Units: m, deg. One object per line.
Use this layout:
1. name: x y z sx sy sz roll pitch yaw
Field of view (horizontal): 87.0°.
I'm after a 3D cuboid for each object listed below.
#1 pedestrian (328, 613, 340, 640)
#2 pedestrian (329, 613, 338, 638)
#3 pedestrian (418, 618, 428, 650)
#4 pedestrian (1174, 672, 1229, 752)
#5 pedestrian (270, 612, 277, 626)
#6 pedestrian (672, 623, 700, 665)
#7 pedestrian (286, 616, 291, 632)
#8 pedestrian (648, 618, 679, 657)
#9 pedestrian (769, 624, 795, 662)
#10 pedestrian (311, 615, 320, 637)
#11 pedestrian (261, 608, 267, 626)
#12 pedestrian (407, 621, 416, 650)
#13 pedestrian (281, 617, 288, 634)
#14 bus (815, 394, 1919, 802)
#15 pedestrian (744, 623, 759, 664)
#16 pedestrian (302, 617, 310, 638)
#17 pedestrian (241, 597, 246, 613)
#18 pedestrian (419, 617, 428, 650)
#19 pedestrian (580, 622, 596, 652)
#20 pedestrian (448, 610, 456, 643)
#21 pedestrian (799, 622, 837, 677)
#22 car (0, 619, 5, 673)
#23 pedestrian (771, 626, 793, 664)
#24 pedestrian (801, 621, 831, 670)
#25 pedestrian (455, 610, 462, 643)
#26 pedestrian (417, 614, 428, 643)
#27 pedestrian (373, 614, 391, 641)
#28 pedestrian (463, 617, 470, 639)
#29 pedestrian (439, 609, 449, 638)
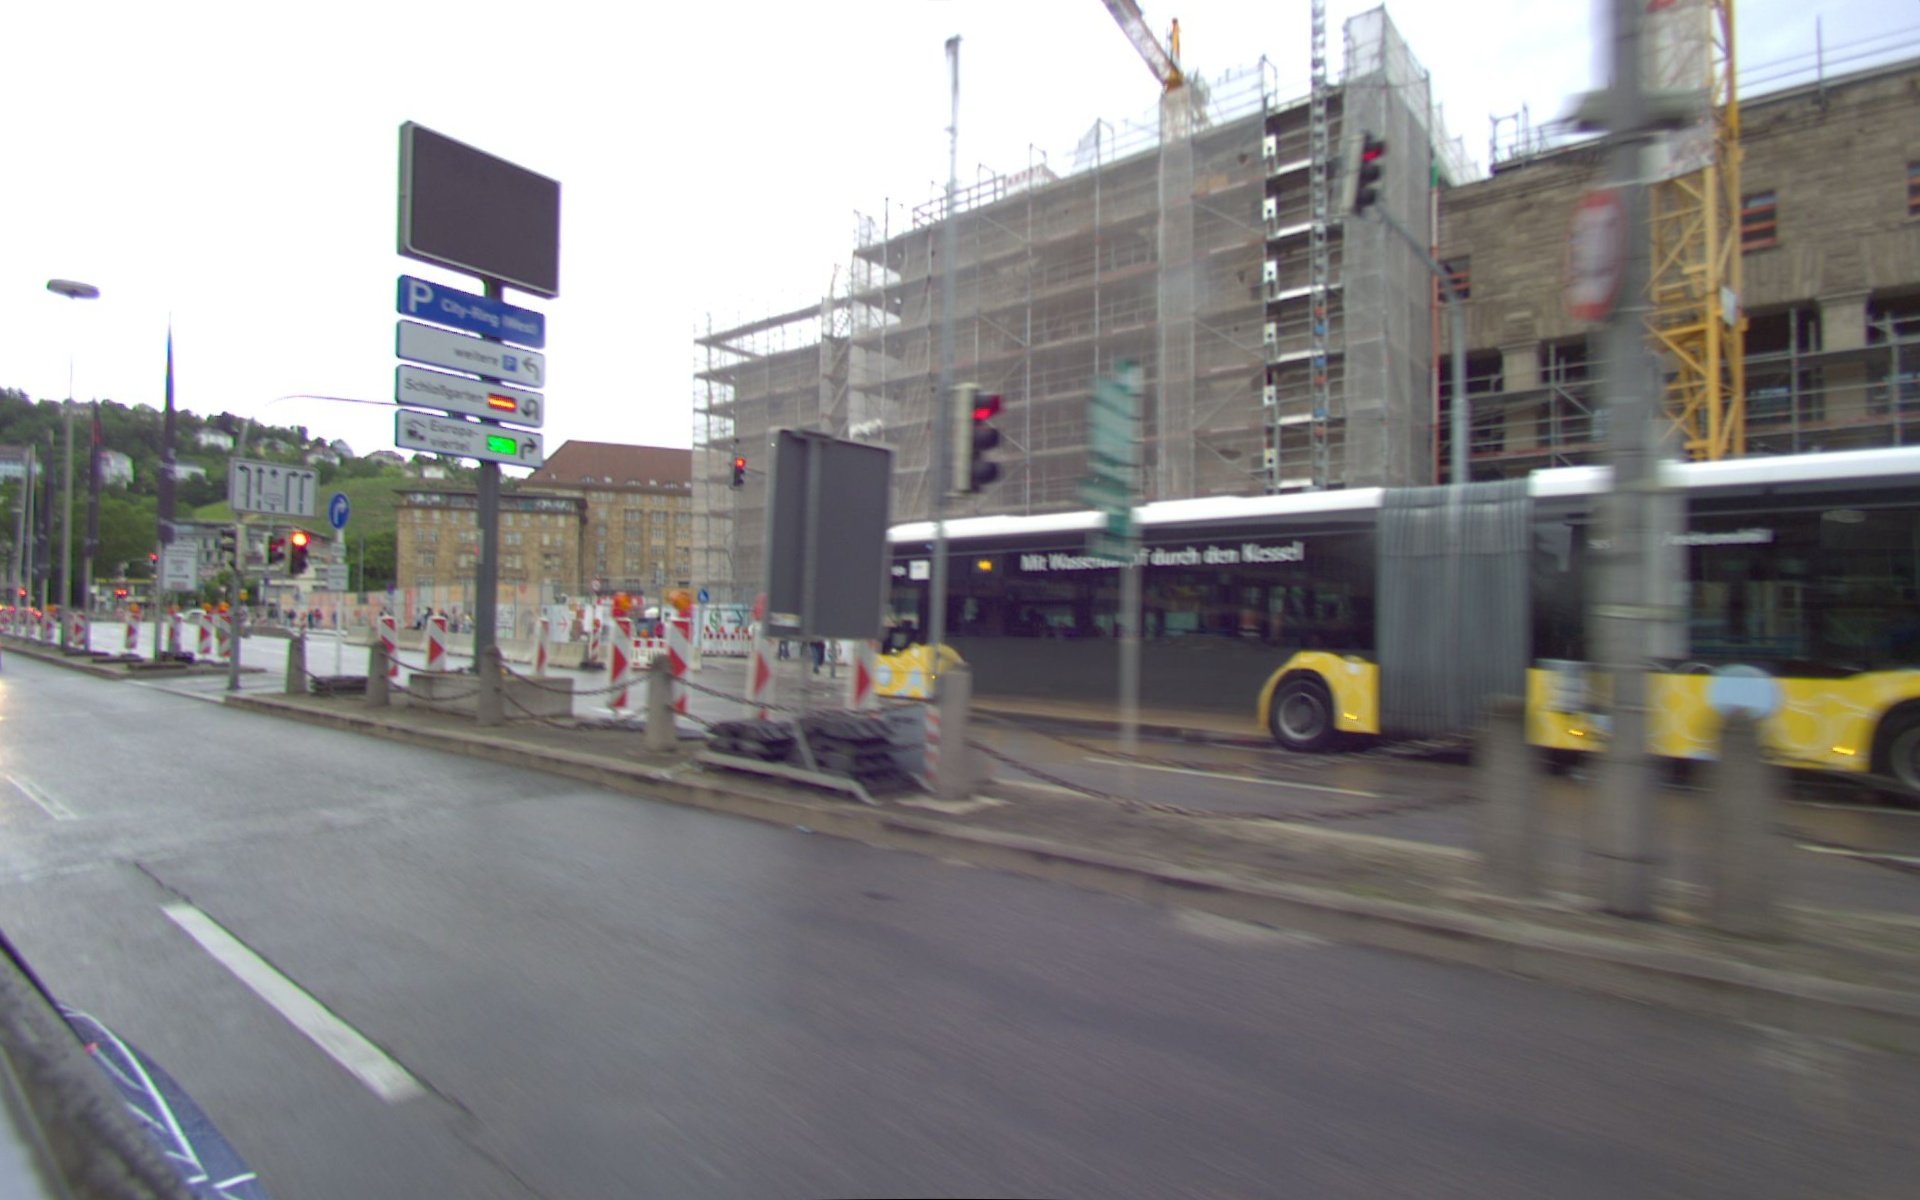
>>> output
1. pedestrian: -46.979 2.004 75.969 0.685 2.049 0.585 -2 -2 41
2. pedestrian: -51.891 2.118 83.813 0.490 2.029 0.535 -1 -1 41
3. pedestrian: -29.683 1.883 55.966 0.365 1.783 0.363 -2 -2 42
4. pedestrian: 5.153 2.369 21.639 0.745 1.609 0.873 2 -2 -41
5. pedestrian: -63.105 1.720 92.982 0.413 1.250 0.432 -2 -2 43
6. pedestrian: -11.150 1.775 41.207 0.872 1.677 0.746 -1 -2 42
7. pedestrian: -55.858 1.967 84.193 0.351 1.321 0.267 -2 -2 41
8. pedestrian: -12.161 1.544 41.513 0.709 1.579 0.941 -1 -3 42
9. pedestrian: -8.300 1.997 47.137 0.939 1.749 0.710 2 -2 -39
10. pedestrian: -47.959 1.970 75.317 0.413 1.628 0.433 -2 -2 41
11. pedestrian: -63.664 1.589 92.564 0.357 1.628 0.370 -2 -2 41
12. pedestrian: -30.718 1.970 56.649 0.321 1.628 0.345 -2 -2 41
13. pedestrian: -58.212 2.220 87.230 0.413 1.426 0.433 -2 -2 41
14. bus: 5.452 0.106 13.512 19.068 3.605 2.879 -1 -3 41
15. pedestrian: -9.011 1.881 43.717 0.639 1.782 0.528 0 -2 -11
16. pedestrian: -51.139 2.124 79.110 0.413 1.628 0.433 -2 -2 41
17. pedestrian: -71.539 0.484 101.056 0.323 1.628 0.330 -2 -2 41
18. pedestrian: -30.013 1.873 56.626 0.391 1.783 0.363 -2 -2 44
19. pedestrian: -17.625 1.749 47.933 0.557 1.454 0.529 2 -2 -42
20. pedestrian: -28.081 1.462 55.915 0.346 1.783 0.306 -2 -2 44
21. pedestrian: -4.490 1.547 31.966 0.963 1.694 0.746 -1 -2 41
22. car: -26.801 1.202 26.847 3.998 1.388 1.724 -1 -2 41
23. pedestrian: -7.948 1.996 45.205 0.696 1.677 0.658 0 -1 32
24. pedestrian: -5.443 1.720 38.220 0.755 1.826 0.862 -1 -2 36
25. pedestrian: -27.884 1.471 56.272 0.268 1.783 0.310 -1 -1 44
26. pedestrian: -33.210 1.749 62.524 0.463 1.768 0.510 -1 -1 41
27. pedestrian: -36.542 1.710 64.007 0.617 1.698 0.796 -2 -2 44
28. pedestrian: -27.412 1.544 56.191 0.251 1.202 0.390 1 -1 -43
29. pedestrian: -28.815 1.322 56.471 0.395 1.633 0.365 1 -1 -45
